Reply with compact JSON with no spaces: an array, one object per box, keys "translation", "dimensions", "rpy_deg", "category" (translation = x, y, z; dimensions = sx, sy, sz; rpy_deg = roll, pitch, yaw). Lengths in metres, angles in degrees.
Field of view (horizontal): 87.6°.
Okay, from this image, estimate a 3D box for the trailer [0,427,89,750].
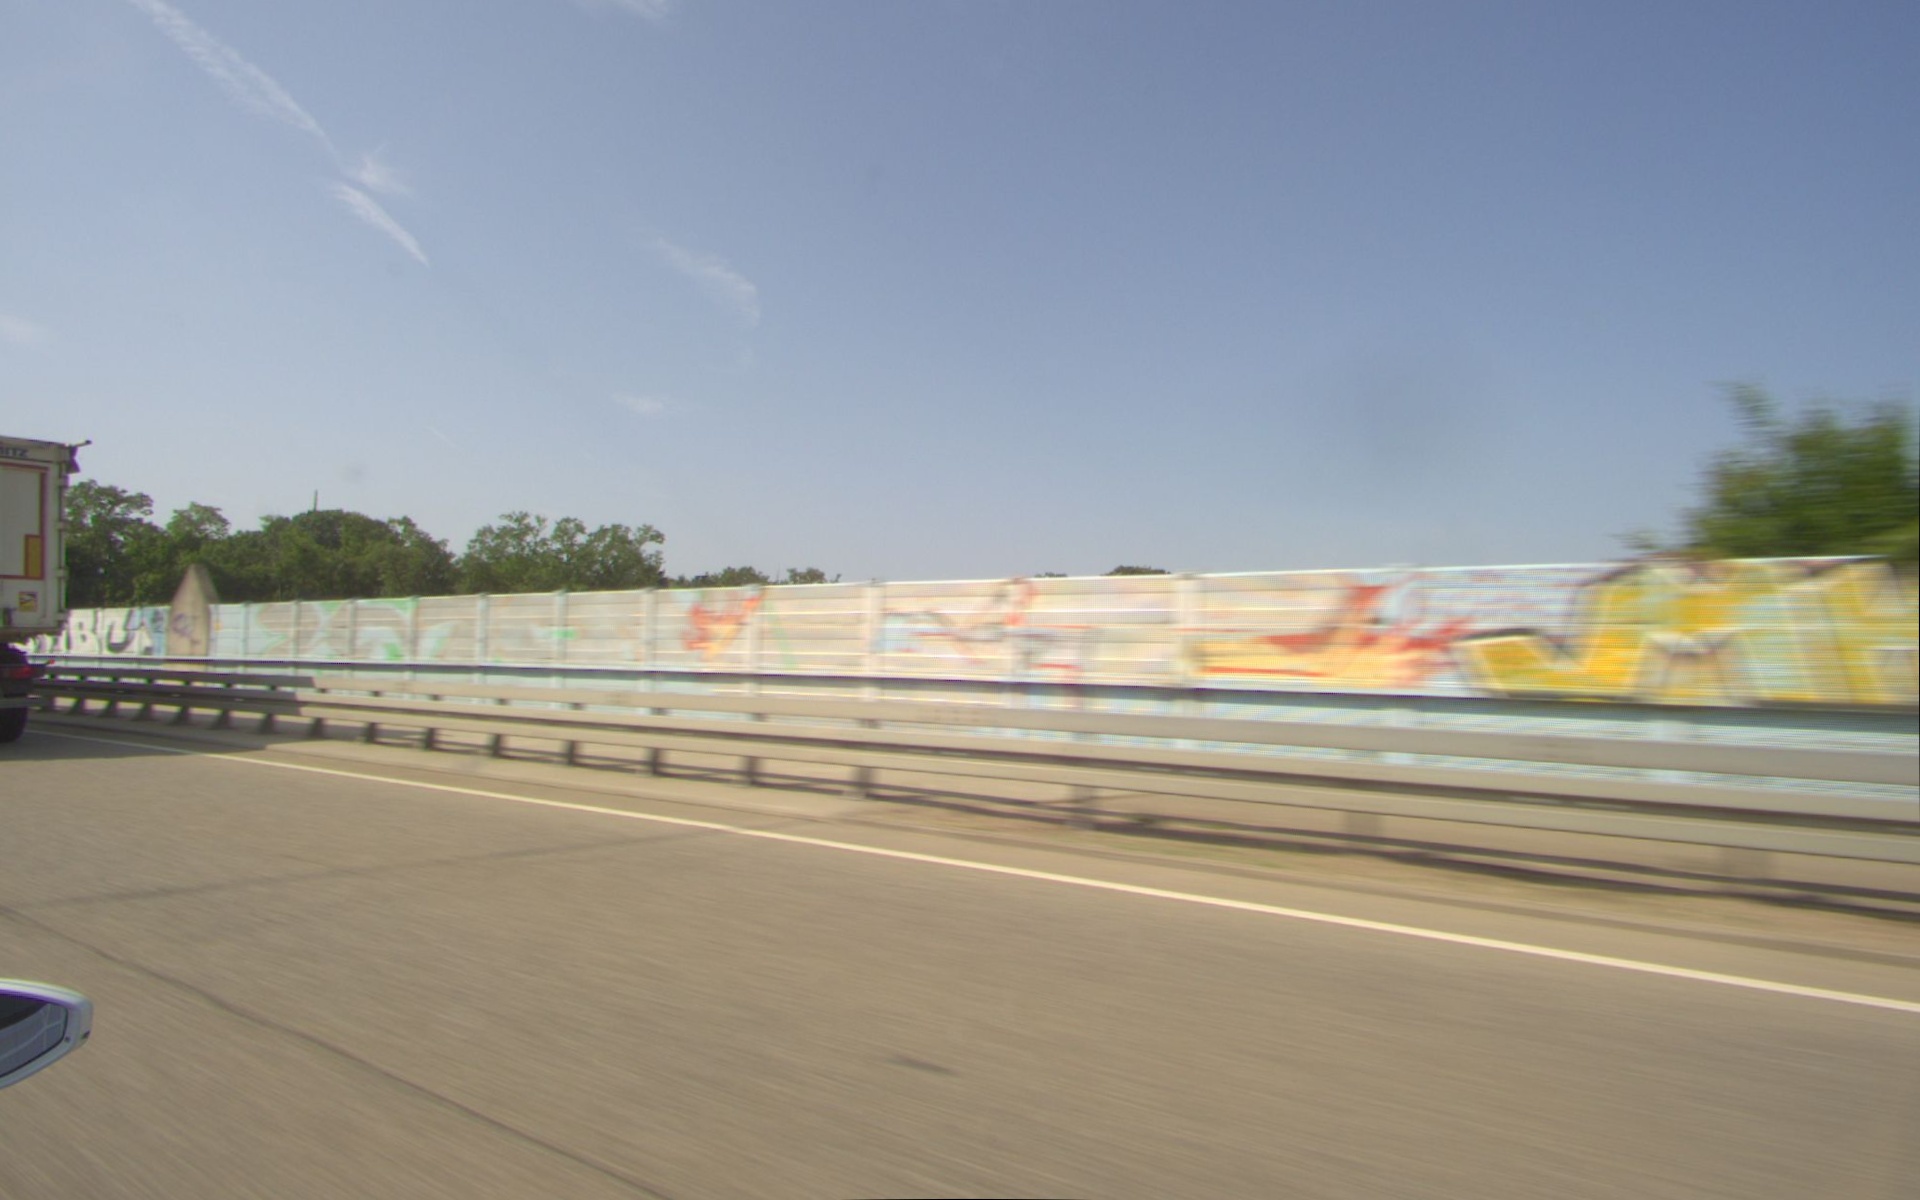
[{"translation":[-16.106,-0.127,14.281],"dimensions":[9.529,3.957,2.676],"rpy_deg":[0,-1,31],"category":"trailer"}]
